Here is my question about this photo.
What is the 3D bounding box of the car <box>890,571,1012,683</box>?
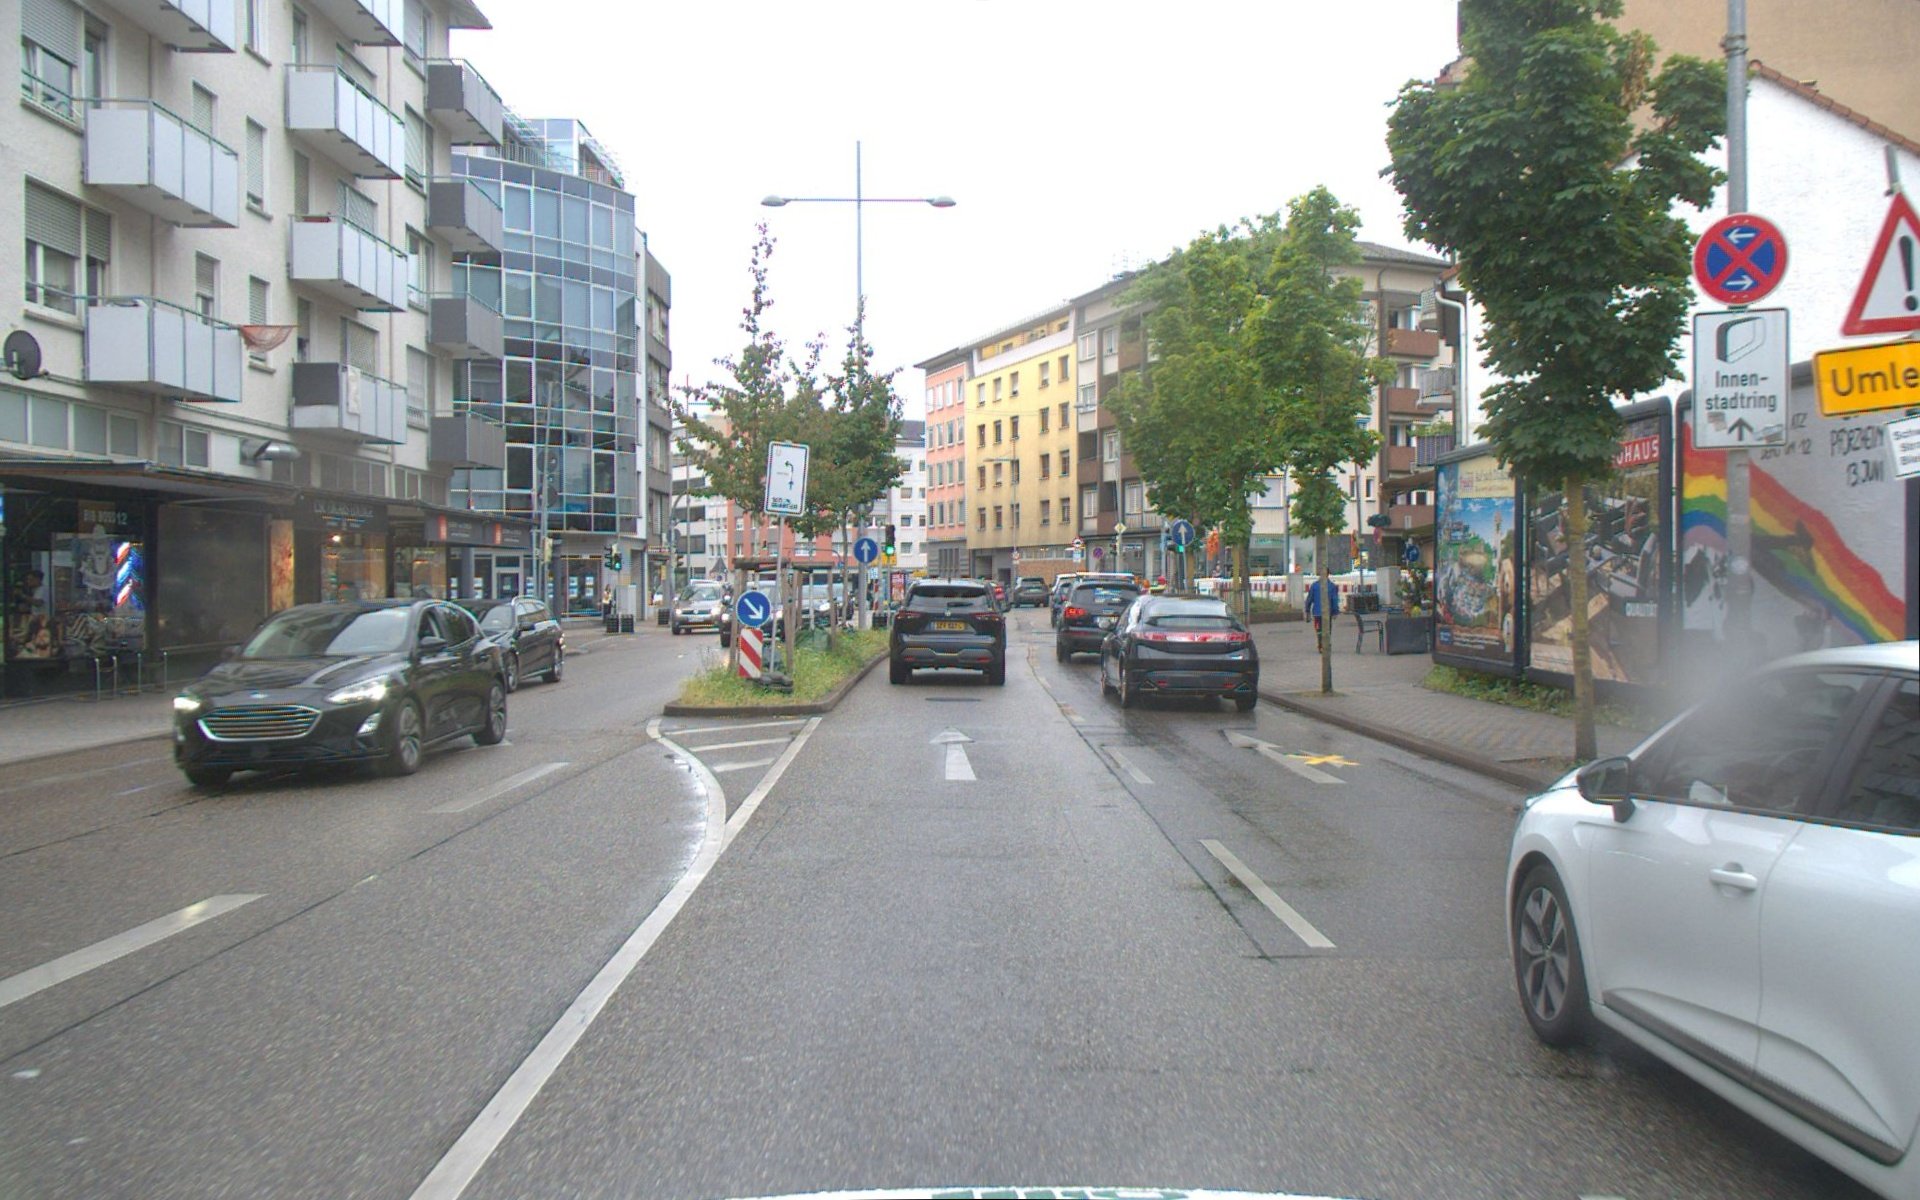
[{"bbox_3d":[-0.136,0.387,26.558,1.786,1.628,3.718,1,1,0],"label":"car"}]

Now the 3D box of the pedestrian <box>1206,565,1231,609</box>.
[{"bbox_3d":[12.204,-0.634,78.097,0.809,2.048,0.835,1,1,-19],"label":"pedestrian"}]

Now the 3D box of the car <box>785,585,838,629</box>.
[{"bbox_3d":[-5.229,0.230,58.709,1.501,1.437,3.936,-3,1,-1],"label":"car"}]

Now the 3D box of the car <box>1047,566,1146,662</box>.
[{"bbox_3d":[2.794,0.240,34.510,1.792,1.837,3.719,1,1,1],"label":"car"}]

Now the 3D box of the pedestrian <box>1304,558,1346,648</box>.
[{"bbox_3d":[7.485,0.053,33.917,0.774,1.786,0.872,-2,0,12],"label":"pedestrian"}]

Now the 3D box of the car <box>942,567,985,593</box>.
[{"bbox_3d":[0.173,-1.076,90.418,1.613,1.368,3.337,-2,0,-13],"label":"car"}]

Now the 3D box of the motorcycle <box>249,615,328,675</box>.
[{"bbox_3d":[-12.187,0.802,30.075,0.515,1.013,2.136,1,0,1],"label":"motorcycle"}]

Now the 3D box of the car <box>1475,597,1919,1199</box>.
[{"bbox_3d":[2.826,0.785,4.343,1.631,1.420,3.866,-2,2,-1],"label":"car"}]

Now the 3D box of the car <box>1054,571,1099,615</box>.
[{"bbox_3d":[4.854,-0.320,69.146,1.792,1.713,3.720,1,2,3],"label":"car"}]

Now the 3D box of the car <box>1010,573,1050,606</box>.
[{"bbox_3d":[3.680,-0.584,87.552,1.674,1.639,3.725,1,1,-5],"label":"car"}]

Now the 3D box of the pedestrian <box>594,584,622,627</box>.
[{"bbox_3d":[-13.436,0.218,63.173,0.775,1.618,0.753,-2,0,-37],"label":"pedestrian"}]

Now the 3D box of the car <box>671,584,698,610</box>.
[{"bbox_3d":[-16.473,-0.183,98.796,1.429,1.455,3.360,1,1,-12],"label":"car"}]

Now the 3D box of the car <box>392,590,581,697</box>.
[{"bbox_3d":[-7.733,0.648,27.493,1.673,1.493,4.829,-3,1,0],"label":"car"}]

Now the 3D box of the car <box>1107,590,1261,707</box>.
[{"bbox_3d":[2.926,0.585,22.292,1.749,1.424,3.720,0,1,3],"label":"car"}]

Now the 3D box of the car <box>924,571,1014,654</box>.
[{"bbox_3d":[0.177,0.234,35.285,1.786,1.628,3.718,1,1,0],"label":"car"}]

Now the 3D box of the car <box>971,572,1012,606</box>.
[{"bbox_3d":[1.393,-0.494,73.468,1.608,1.405,3.347,-2,0,-2],"label":"car"}]

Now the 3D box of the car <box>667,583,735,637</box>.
[{"bbox_3d":[-8.484,0.303,54.458,1.599,1.619,3.936,-3,1,-1],"label":"car"}]

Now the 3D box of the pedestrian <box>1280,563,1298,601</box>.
[{"bbox_3d":[16.036,-0.881,80.571,0.523,1.800,0.616,1,1,-31],"label":"pedestrian"}]

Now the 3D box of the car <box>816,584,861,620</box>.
[{"bbox_3d":[-5.039,0.057,68.968,1.636,1.393,3.752,-2,0,-1],"label":"car"}]

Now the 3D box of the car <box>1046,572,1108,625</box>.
[{"bbox_3d":[3.754,-0.070,53.575,1.792,1.589,3.719,1,2,1],"label":"car"}]

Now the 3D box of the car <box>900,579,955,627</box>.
[{"bbox_3d":[-1.029,0.071,51.490,1.608,1.405,3.347,-2,0,-2],"label":"car"}]

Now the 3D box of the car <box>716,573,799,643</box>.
[{"bbox_3d":[-5.332,0.185,43.926,1.649,1.690,4.096,-3,1,0],"label":"car"}]

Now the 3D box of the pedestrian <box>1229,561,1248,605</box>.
[{"bbox_3d":[13.123,-0.820,77.908,0.804,2.048,0.840,1,1,7],"label":"pedestrian"}]

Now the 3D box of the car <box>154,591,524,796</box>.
[{"bbox_3d":[-5.281,0.700,14.697,1.685,1.448,4.165,-3,1,-1],"label":"car"}]
